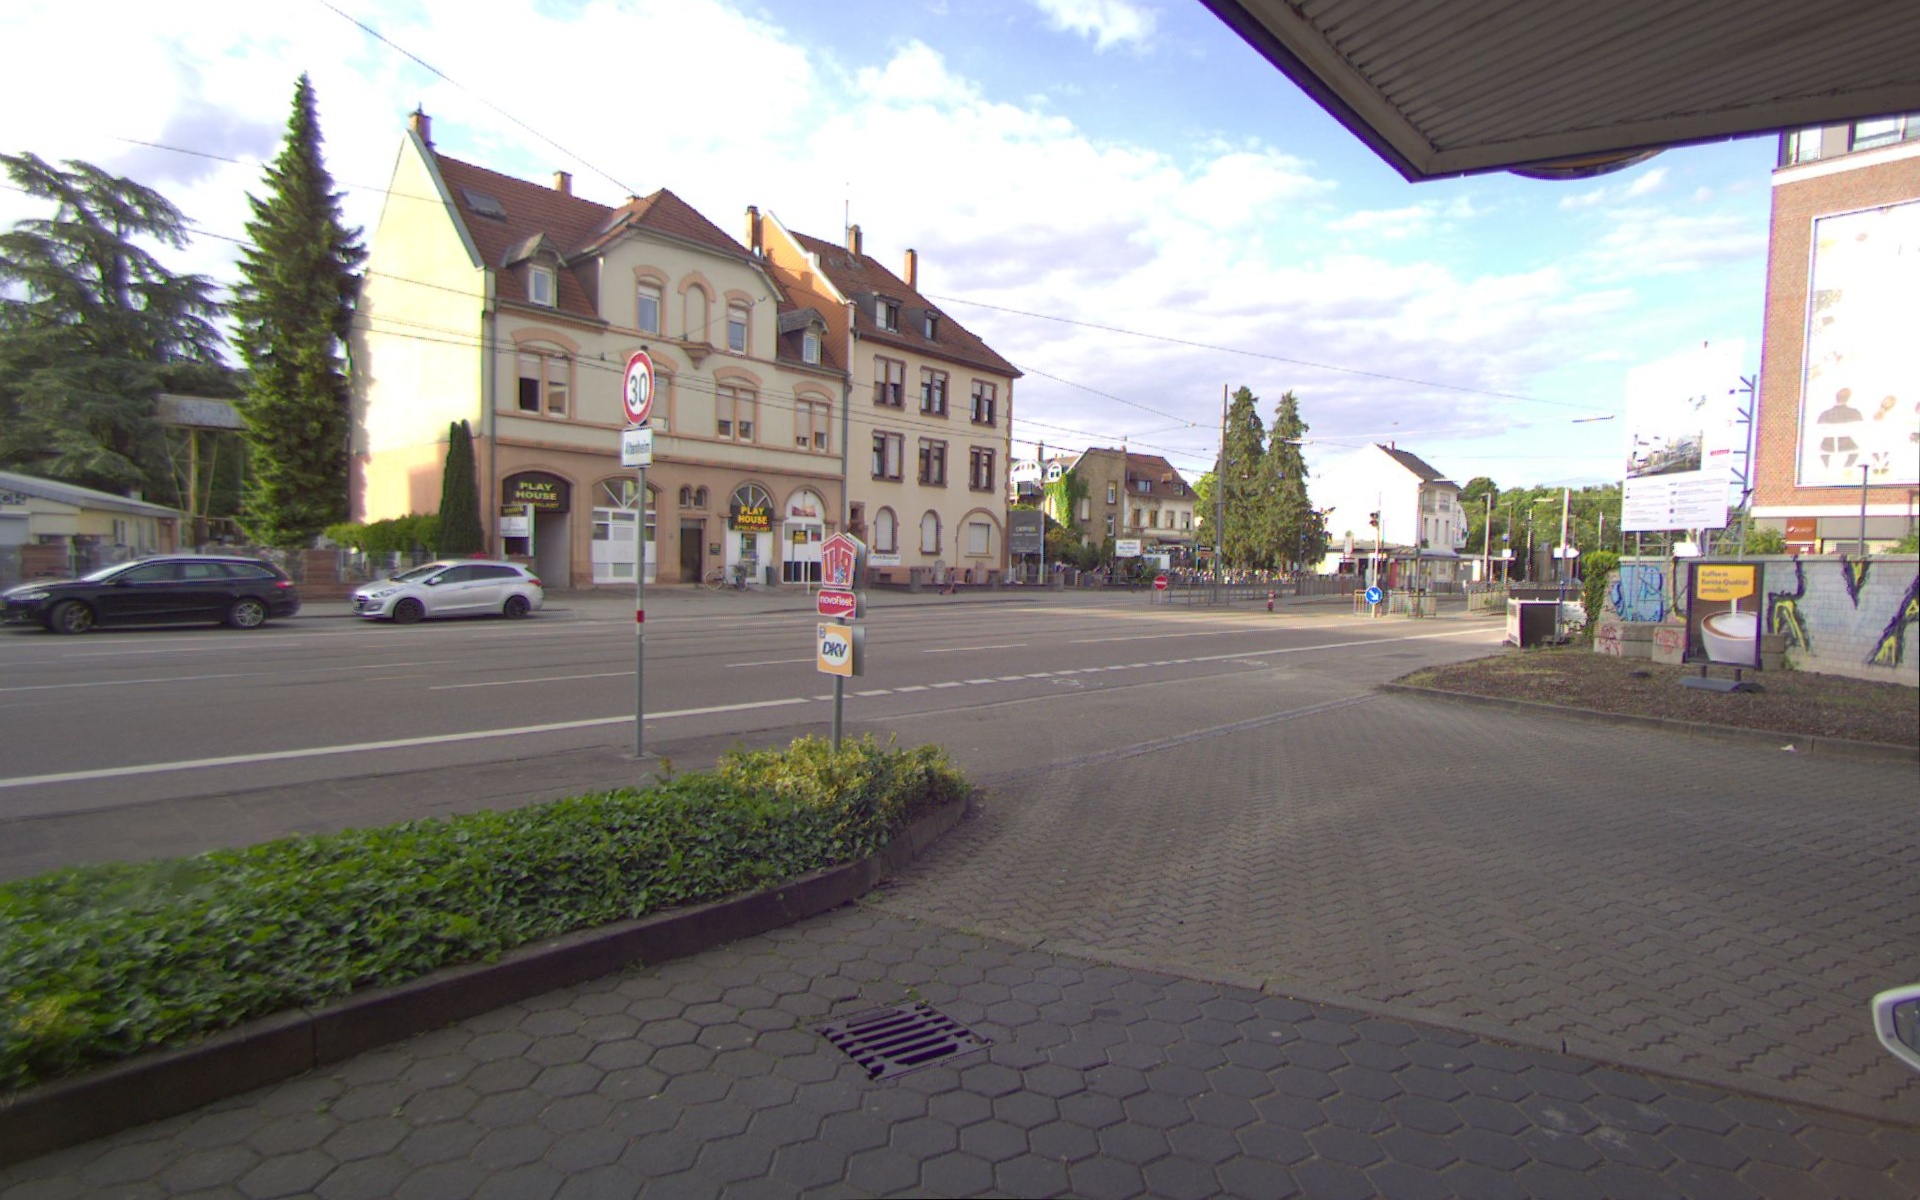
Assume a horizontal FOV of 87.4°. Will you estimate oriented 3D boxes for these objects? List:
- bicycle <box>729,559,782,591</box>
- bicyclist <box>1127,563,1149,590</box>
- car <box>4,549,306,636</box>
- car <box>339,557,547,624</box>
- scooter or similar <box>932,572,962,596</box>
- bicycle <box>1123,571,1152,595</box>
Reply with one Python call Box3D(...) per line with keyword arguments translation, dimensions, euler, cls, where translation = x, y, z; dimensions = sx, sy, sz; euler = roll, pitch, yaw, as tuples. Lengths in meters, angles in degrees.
Box3D(translation=(-8.256, -1.003, 40.618), dimensions=(0.741, 1.219, 2.011), euler=(8, 5, 41), cls="bicycle")
Box3D(translation=(9.977, -1.308, 56.363), dimensions=(0.740, 1.428, 0.917), euler=(7, 6, 39), cls="bicyclist")
Box3D(translation=(-16.496, -0.175, 20.808), dimensions=(1.827, 1.542, 4.642), euler=(5, 4, 40), cls="car")
Box3D(translation=(-12.938, -0.252, 25.347), dimensions=(1.718, 1.502, 4.357), euler=(3, 2, 41), cls="car")
Box3D(translation=(-0.575, -0.716, 45.083), dimensions=(0.437, 1.006, 1.460), euler=(6, 5, 41), cls="scooter or similar")
Box3D(translation=(9.998, -0.965, 56.425), dimensions=(0.740, 1.219, 1.813), euler=(7, 6, 38), cls="bicycle")
